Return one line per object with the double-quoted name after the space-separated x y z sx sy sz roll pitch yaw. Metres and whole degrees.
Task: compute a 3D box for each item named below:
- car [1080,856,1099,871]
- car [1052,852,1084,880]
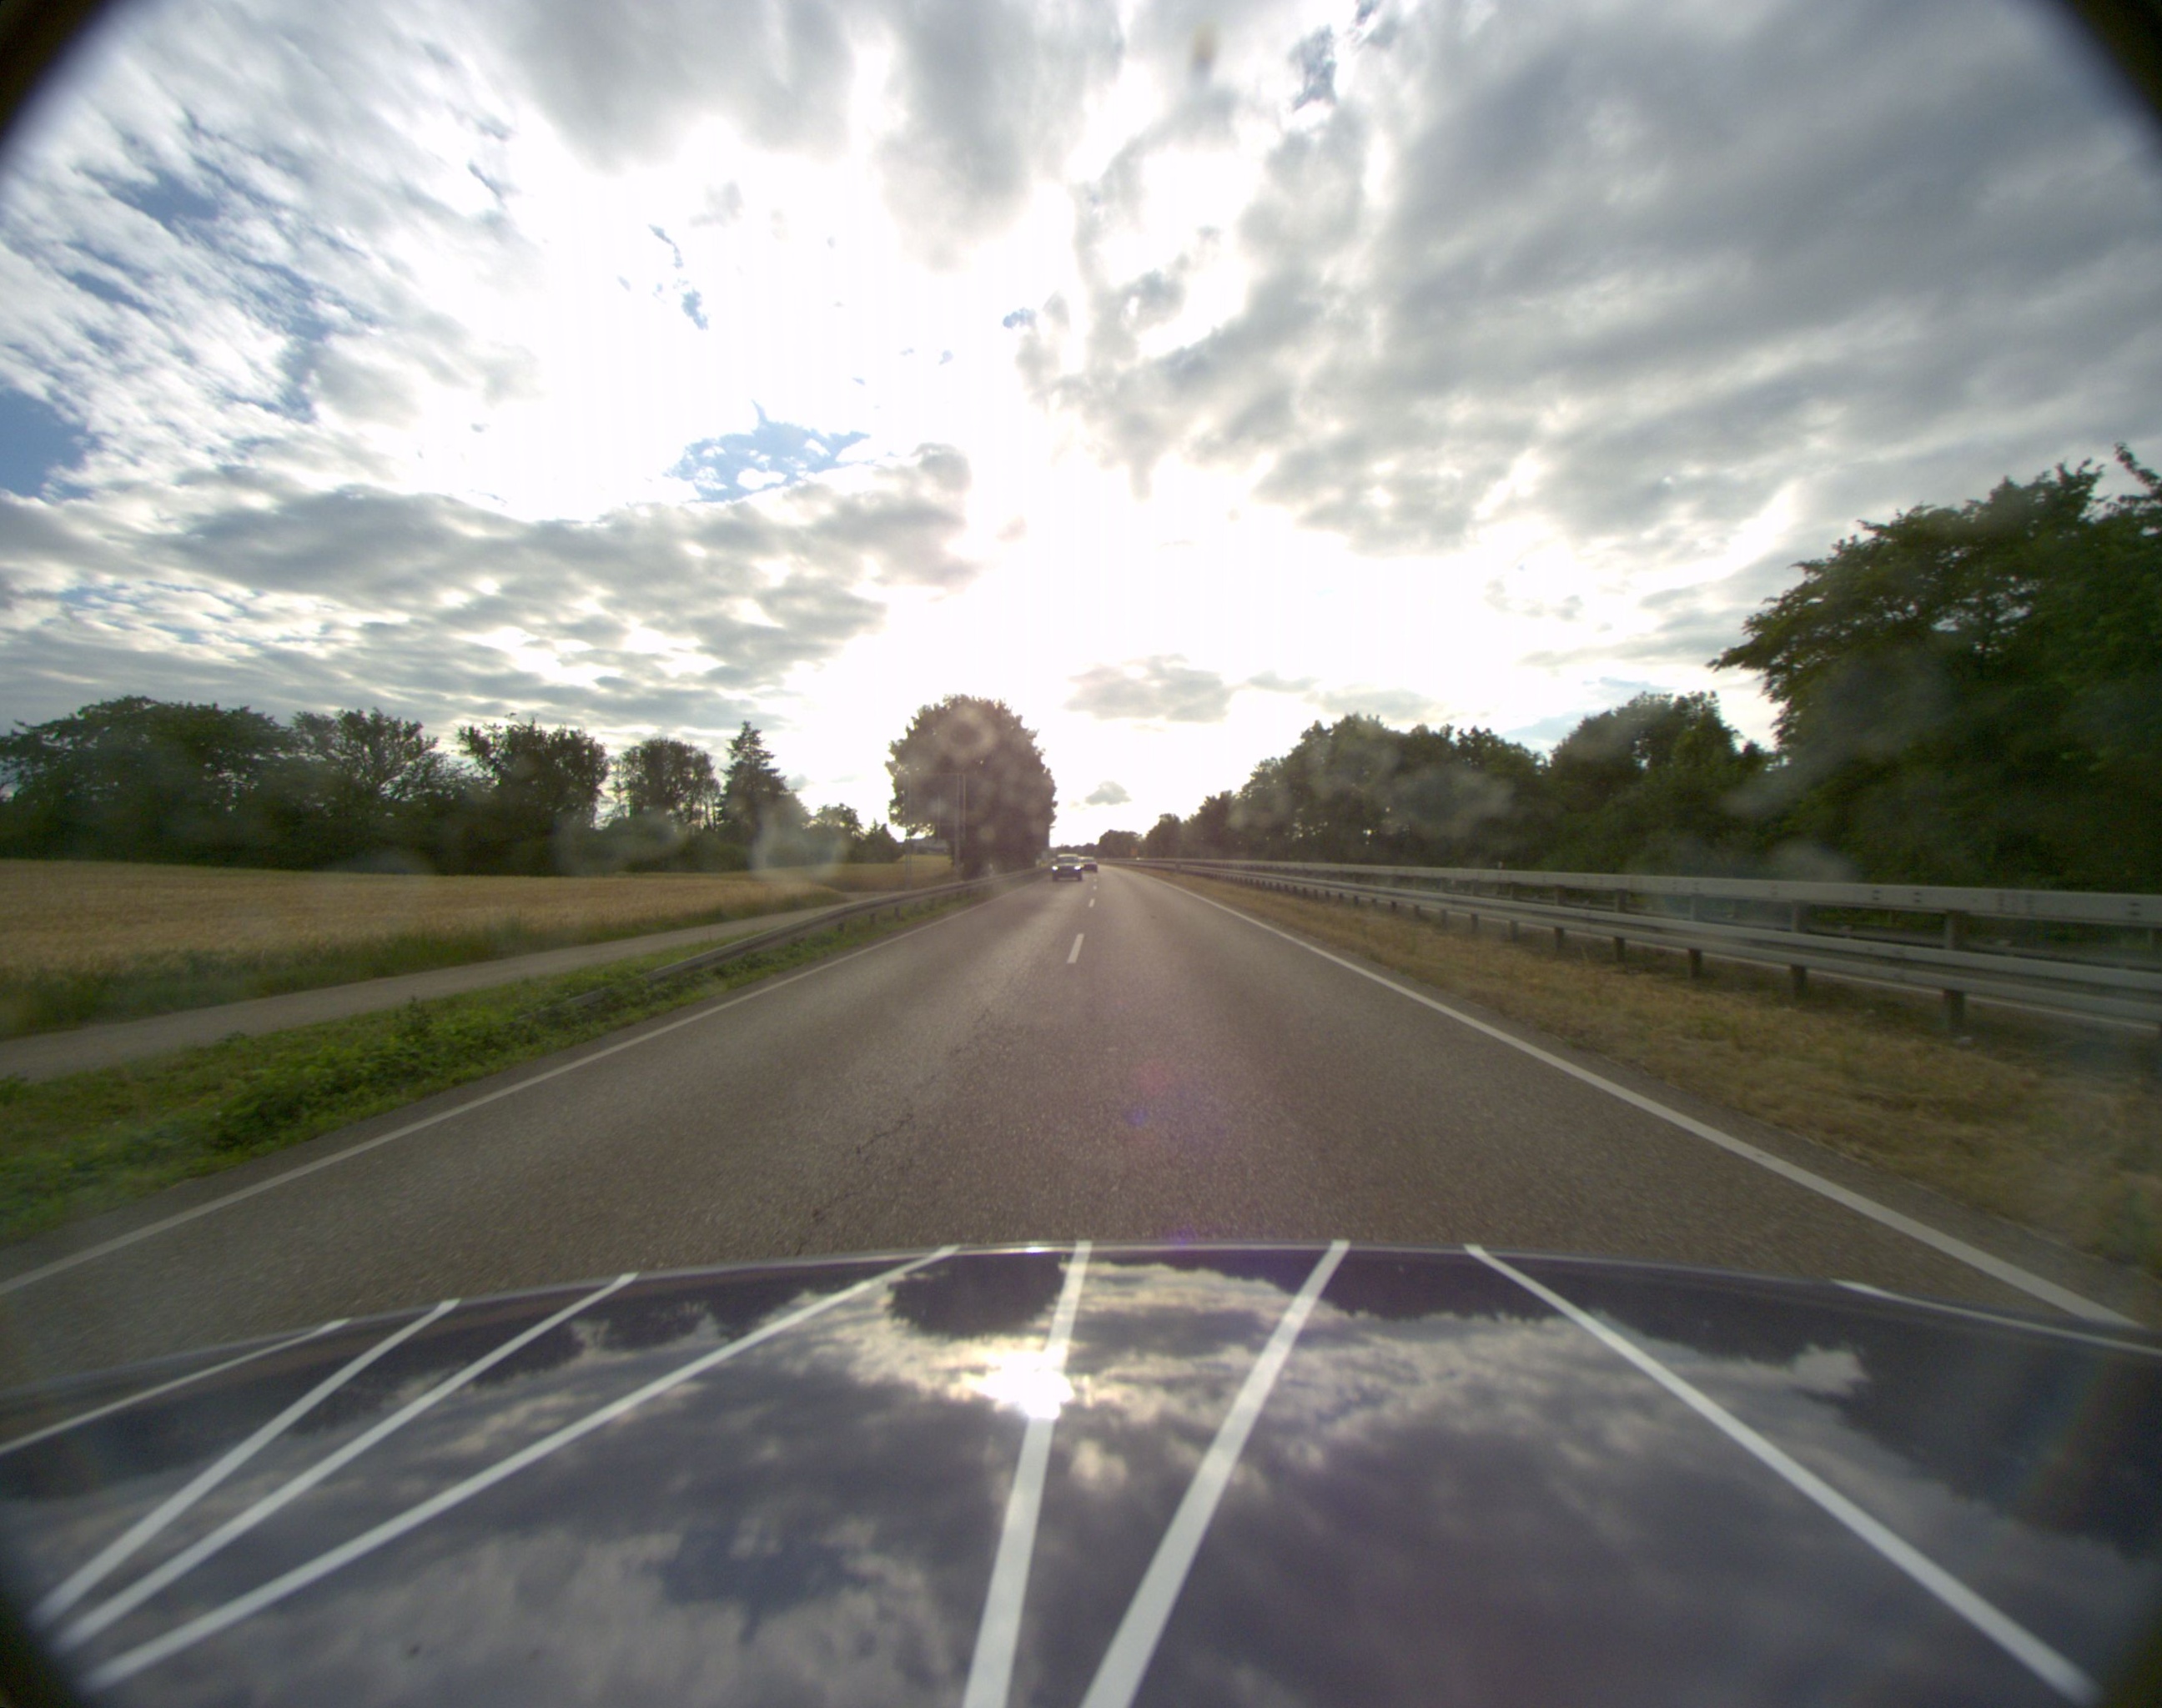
0.795 0.897 74.272 1.775 1.389 4.000 -1 0 0 "car"
-0.808 0.731 48.906 1.863 1.636 4.000 -1 0 1 "car"
